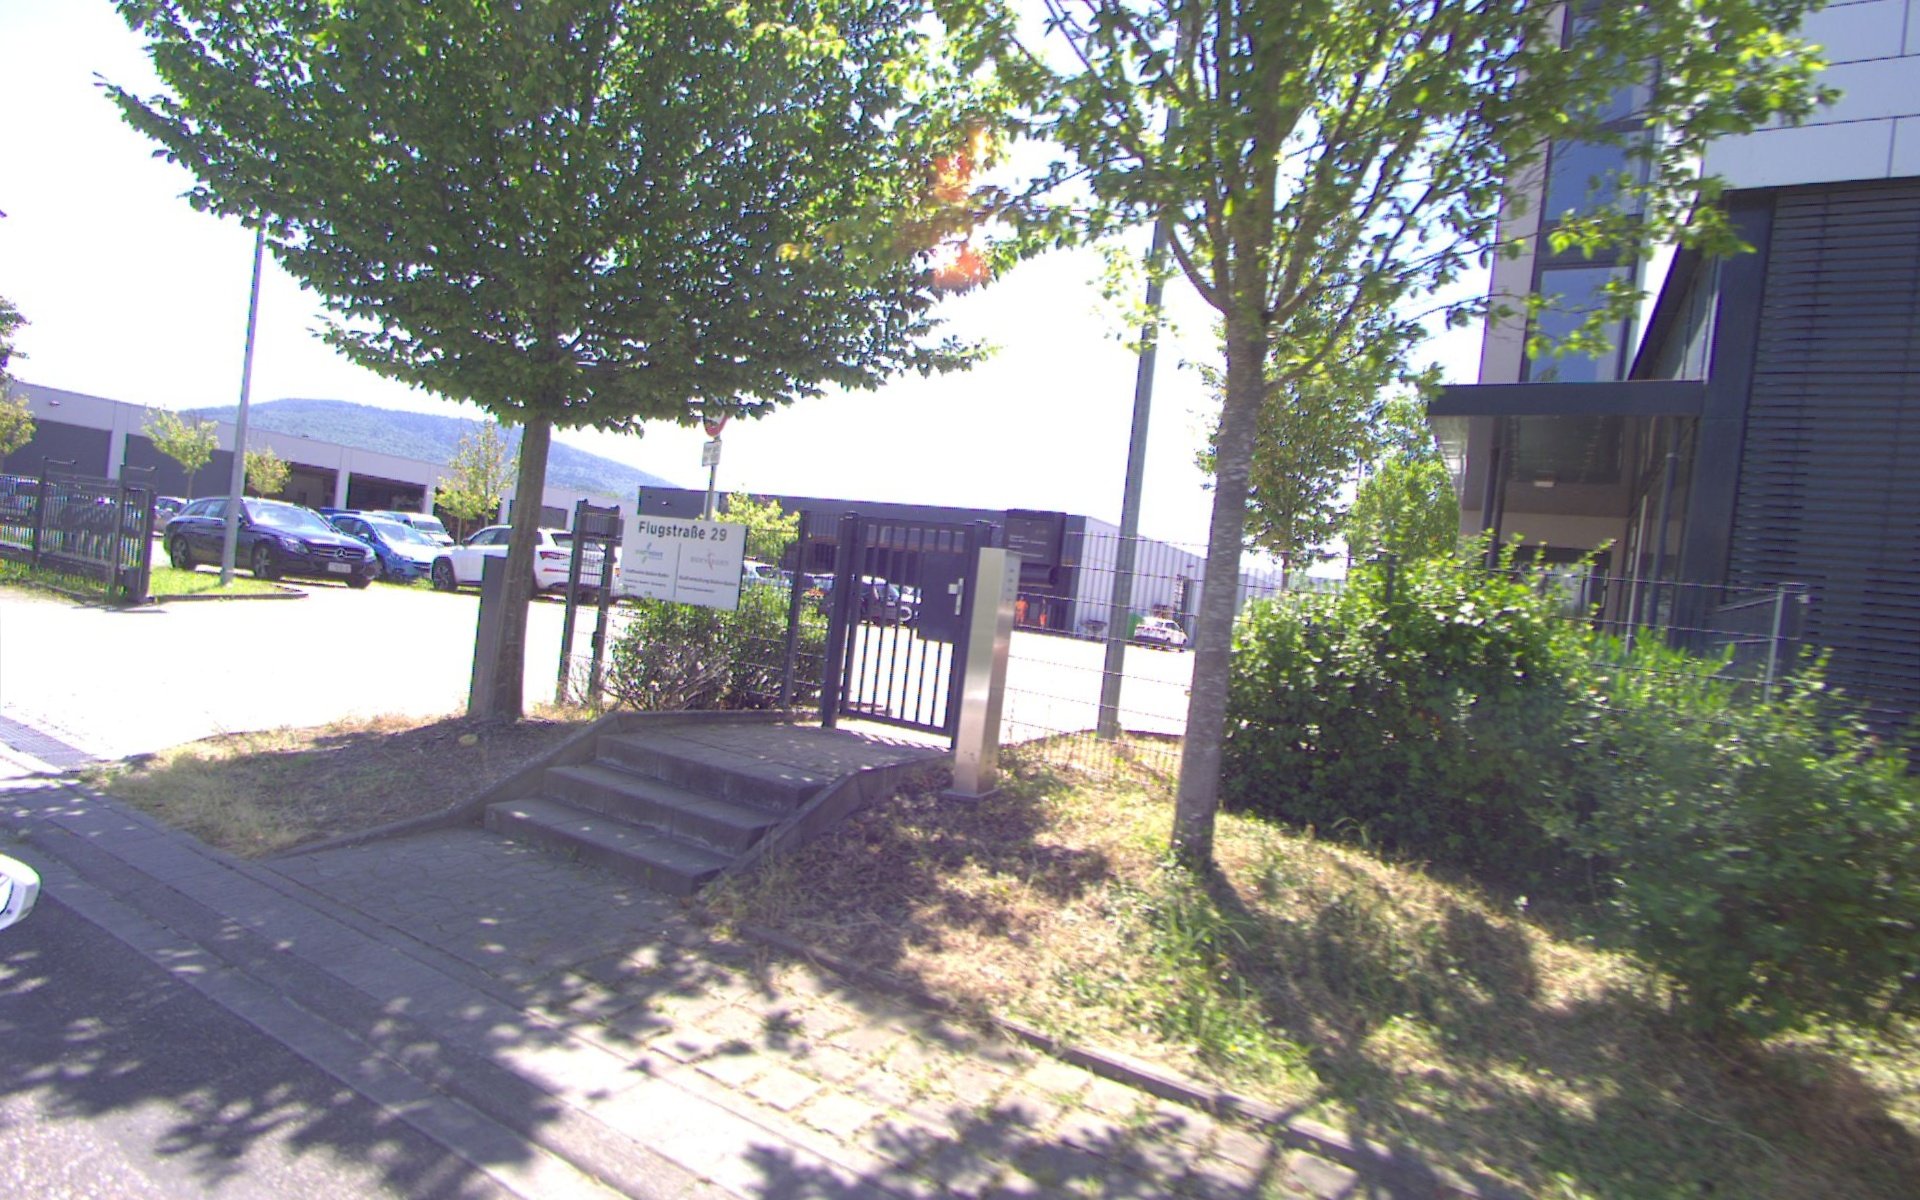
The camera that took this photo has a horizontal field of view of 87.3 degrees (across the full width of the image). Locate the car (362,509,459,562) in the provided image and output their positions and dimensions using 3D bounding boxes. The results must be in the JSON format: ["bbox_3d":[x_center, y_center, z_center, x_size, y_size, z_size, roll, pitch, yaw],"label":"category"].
[{"bbox_3d":[-29.955,-3.523,54.798,5.412,2.508,1.884,4,-1,28],"label":"car"}]

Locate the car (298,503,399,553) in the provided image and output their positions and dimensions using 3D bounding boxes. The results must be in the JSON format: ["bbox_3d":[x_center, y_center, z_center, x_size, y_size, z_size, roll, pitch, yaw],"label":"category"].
[{"bbox_3d":[-32.262,-3.790,53.047,5.560,2.291,1.884,4,-1,28],"label":"car"}]

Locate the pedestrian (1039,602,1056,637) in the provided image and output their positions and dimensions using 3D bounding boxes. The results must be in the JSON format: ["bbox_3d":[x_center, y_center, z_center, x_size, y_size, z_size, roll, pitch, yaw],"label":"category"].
[{"bbox_3d":[4.518,1.023,52.094,0.538,1.741,0.448,7,2,31],"label":"pedestrian"}]

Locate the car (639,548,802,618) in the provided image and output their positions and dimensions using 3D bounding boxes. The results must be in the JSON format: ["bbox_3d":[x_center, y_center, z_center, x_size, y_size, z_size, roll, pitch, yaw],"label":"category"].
[{"bbox_3d":[-7.074,-0.511,29.631,4.439,1.642,1.915,5,-1,29],"label":"car"}]

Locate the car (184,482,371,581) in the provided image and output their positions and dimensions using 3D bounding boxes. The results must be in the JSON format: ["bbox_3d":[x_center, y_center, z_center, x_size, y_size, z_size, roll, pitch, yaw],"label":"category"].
[{"bbox_3d":[-15.897,-1.604,23.382,4.168,1.643,1.793,9,1,29],"label":"car"}]

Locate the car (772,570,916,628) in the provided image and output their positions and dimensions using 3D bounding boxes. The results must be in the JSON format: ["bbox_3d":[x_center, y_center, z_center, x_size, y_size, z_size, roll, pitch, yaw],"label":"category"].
[{"bbox_3d":[-3.916,-0.042,33.870,4.439,1.552,1.915,5,-1,29],"label":"car"}]

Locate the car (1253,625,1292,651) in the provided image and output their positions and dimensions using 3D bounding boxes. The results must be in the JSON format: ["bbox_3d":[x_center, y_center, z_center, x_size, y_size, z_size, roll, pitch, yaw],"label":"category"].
[{"bbox_3d":[24.857,3.018,79.852,1.891,1.716,4.103,7,0,31],"label":"car"}]

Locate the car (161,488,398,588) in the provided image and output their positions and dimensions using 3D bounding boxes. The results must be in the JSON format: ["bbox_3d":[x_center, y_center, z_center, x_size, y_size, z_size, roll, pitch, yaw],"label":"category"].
[{"bbox_3d":[-12.657,-1.157,18.658,4.335,1.472,1.793,5,-1,29],"label":"car"}]

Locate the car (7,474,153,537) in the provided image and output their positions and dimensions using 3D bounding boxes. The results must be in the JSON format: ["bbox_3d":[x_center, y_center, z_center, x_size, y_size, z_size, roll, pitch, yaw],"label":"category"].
[{"bbox_3d":[-25.181,-2.697,28.764,4.072,1.450,1.792,5,-1,29],"label":"car"}]

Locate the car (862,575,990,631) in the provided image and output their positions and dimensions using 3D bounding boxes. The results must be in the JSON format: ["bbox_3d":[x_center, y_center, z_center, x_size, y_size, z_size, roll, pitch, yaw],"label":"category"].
[{"bbox_3d":[-1.315,0.105,38.582,4.455,1.735,1.915,5,-1,29],"label":"car"}]

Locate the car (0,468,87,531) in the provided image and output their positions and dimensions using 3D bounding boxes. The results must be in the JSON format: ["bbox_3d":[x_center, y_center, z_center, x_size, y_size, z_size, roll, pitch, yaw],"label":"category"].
[{"bbox_3d":[-29.738,-3.277,31.770,4.345,1.550,1.792,9,1,29],"label":"car"}]

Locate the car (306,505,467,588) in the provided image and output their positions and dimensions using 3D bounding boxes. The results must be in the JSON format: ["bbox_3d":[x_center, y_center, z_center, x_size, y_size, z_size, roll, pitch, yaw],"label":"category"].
[{"bbox_3d":[-14.718,-1.382,25.780,3.953,1.510,1.649,9,1,29],"label":"car"}]

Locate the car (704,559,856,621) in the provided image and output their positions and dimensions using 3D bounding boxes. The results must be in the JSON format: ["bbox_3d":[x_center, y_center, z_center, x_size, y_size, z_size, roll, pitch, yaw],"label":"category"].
[{"bbox_3d":[-5.749,-0.328,32.020,4.439,1.552,1.915,5,-1,29],"label":"car"}]

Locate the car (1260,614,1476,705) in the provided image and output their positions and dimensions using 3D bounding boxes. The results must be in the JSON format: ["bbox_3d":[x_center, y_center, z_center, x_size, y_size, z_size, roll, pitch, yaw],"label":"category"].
[{"bbox_3d":[9.171,1.300,22.735,4.155,1.548,1.806,5,0,33],"label":"car"}]

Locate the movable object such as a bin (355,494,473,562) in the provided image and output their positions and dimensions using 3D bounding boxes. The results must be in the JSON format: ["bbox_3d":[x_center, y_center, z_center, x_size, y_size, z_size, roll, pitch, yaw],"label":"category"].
[{"bbox_3d":[-40.962,-5.420,75.385,8.519,4.024,3.546,7,1,30],"label":"movable object such as a bin"}]

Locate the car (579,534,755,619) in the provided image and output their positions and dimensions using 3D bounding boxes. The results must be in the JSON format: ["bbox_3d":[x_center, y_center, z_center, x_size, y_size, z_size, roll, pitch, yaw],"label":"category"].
[{"bbox_3d":[-8.032,-0.654,27.517,4.439,1.923,1.915,5,-1,29],"label":"car"}]

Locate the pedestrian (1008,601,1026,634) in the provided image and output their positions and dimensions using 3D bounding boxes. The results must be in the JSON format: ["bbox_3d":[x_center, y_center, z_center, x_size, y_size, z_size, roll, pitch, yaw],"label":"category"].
[{"bbox_3d":[3.044,0.933,53.584,0.510,1.679,0.702,7,1,36],"label":"pedestrian"}]

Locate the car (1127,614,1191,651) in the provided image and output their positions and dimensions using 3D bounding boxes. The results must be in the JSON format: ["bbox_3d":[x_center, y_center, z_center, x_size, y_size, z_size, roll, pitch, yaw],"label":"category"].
[{"bbox_3d":[10.575,1.731,53.329,1.891,1.633,4.103,7,0,31],"label":"car"}]

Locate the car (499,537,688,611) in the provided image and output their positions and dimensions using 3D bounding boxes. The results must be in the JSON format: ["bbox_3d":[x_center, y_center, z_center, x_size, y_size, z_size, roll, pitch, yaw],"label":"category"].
[{"bbox_3d":[-9.250,-0.673,25.343,4.571,1.450,1.843,5,-1,29],"label":"car"}]

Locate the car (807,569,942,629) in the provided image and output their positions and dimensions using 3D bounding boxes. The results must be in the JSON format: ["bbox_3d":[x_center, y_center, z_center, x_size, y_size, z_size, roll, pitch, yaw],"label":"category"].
[{"bbox_3d":[-3.121,-0.050,36.419,4.455,1.735,1.915,5,-1,29],"label":"car"}]

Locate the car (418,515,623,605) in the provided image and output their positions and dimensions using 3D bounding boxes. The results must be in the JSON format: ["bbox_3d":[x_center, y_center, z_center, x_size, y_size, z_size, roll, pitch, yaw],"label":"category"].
[{"bbox_3d":[-10.200,-0.944,23.284,4.571,1.673,1.843,5,-1,29],"label":"car"}]

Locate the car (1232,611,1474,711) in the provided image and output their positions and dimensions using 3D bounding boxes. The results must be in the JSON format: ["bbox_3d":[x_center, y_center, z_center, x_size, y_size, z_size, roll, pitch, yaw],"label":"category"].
[{"bbox_3d":[7.869,1.180,20.257,4.155,1.479,1.806,5,0,33],"label":"car"}]

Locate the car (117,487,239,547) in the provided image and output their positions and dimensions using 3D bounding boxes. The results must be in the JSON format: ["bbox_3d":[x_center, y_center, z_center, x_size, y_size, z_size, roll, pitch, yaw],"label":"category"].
[{"bbox_3d":[-27.819,-2.961,35.768,4.345,1.500,1.792,9,1,29],"label":"car"}]
